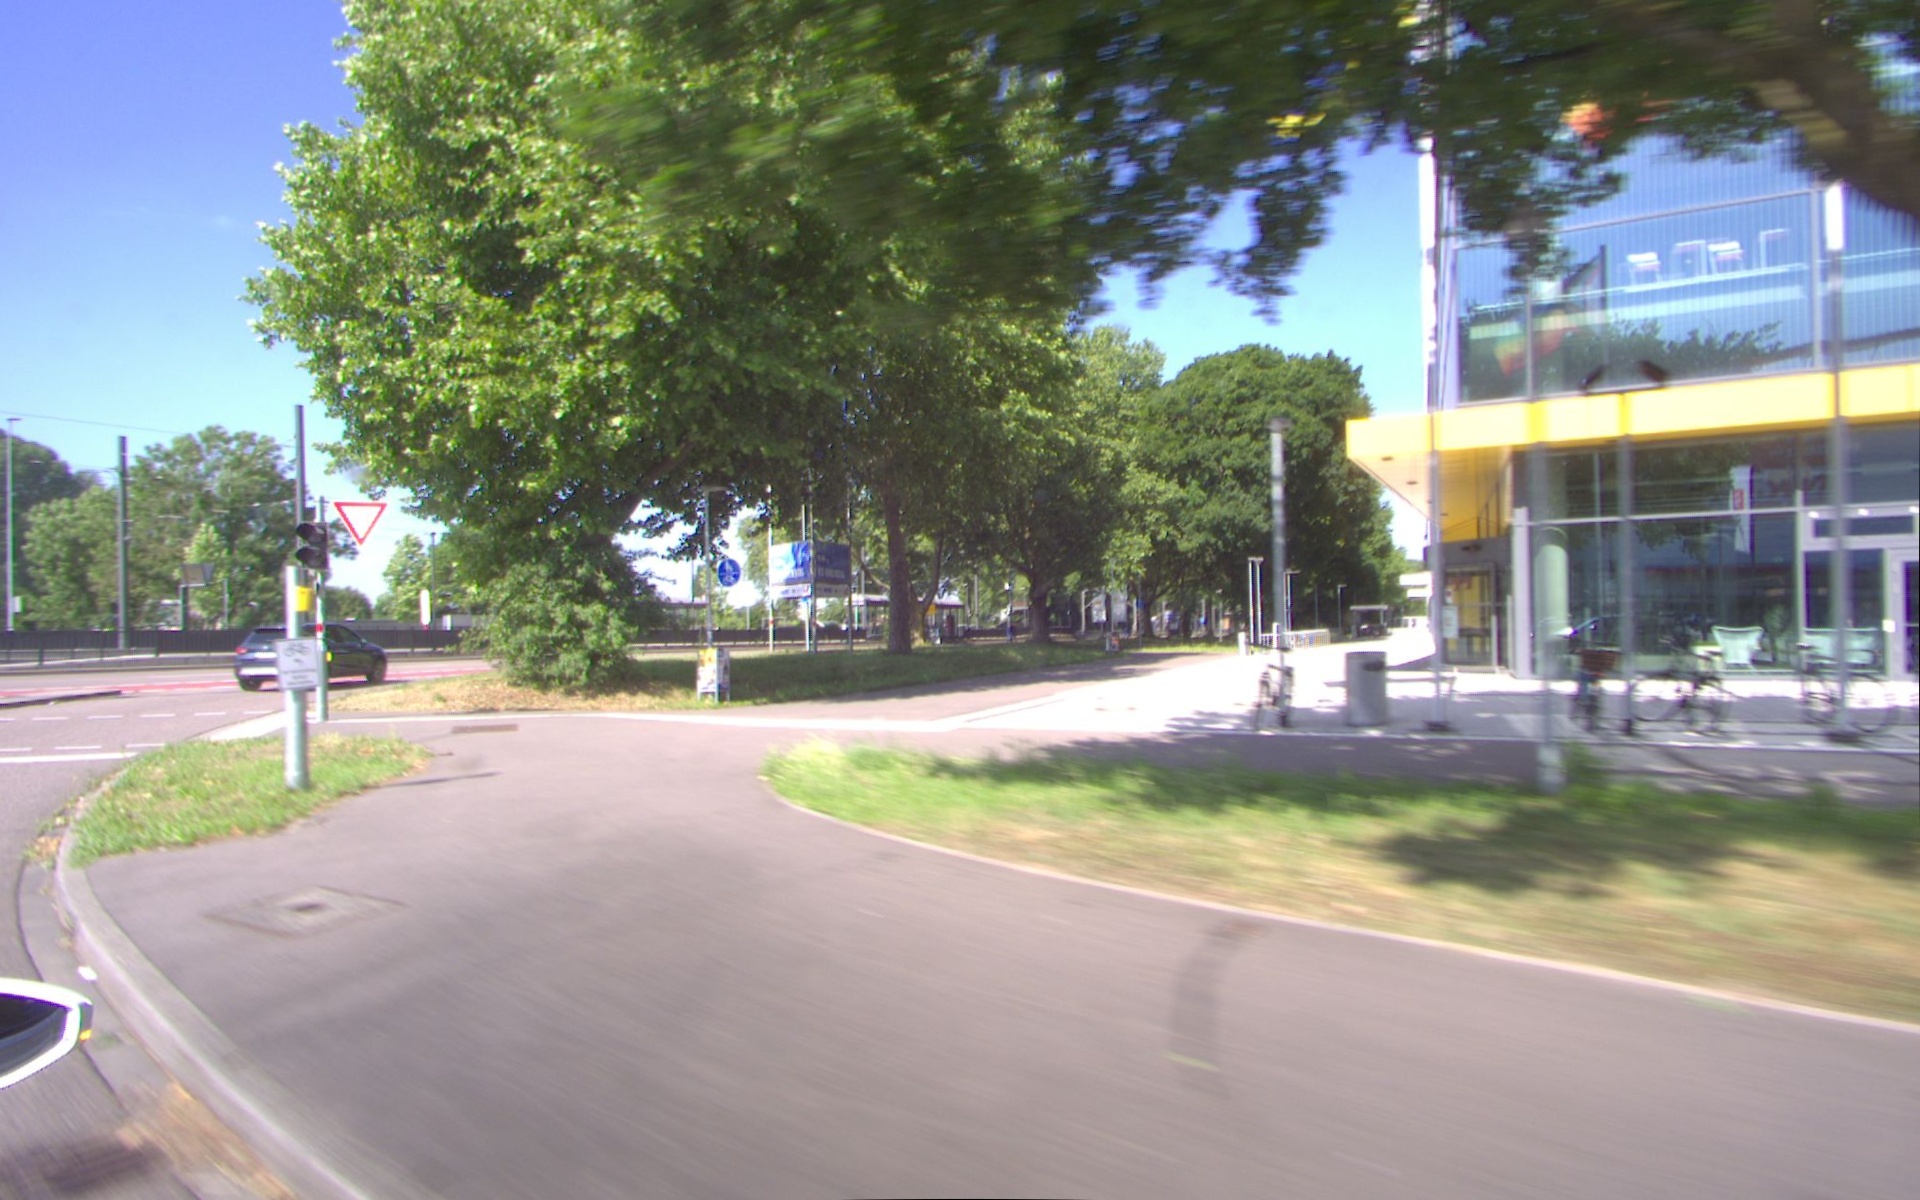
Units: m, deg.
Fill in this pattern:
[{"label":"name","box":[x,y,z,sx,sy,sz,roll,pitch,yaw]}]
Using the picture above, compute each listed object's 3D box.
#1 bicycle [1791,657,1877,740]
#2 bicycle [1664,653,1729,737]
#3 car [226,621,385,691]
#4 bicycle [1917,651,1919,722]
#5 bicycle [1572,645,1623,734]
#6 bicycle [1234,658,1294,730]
[{"label":"bicycle","box":[10.181,1.116,11.702,0.427,0.854,1.560,0,-1,29]},{"label":"bicycle","box":[8.965,1.123,12.229,0.427,0.921,1.560,0,-1,29]},{"label":"car","box":[-15.446,1.313,23.842,1.643,1.542,3.378,0,-2,-3]},{"label":"bicycle","box":[11.473,1.029,11.394,0.427,0.854,1.560,0,-1,28]},{"label":"bicycle","box":[7.930,1.082,12.489,0.427,1.008,1.560,0,-1,29]},{"label":"bicycle","box":[4.140,1.243,13.568,0.427,0.854,1.827,0,-1,29]}]
